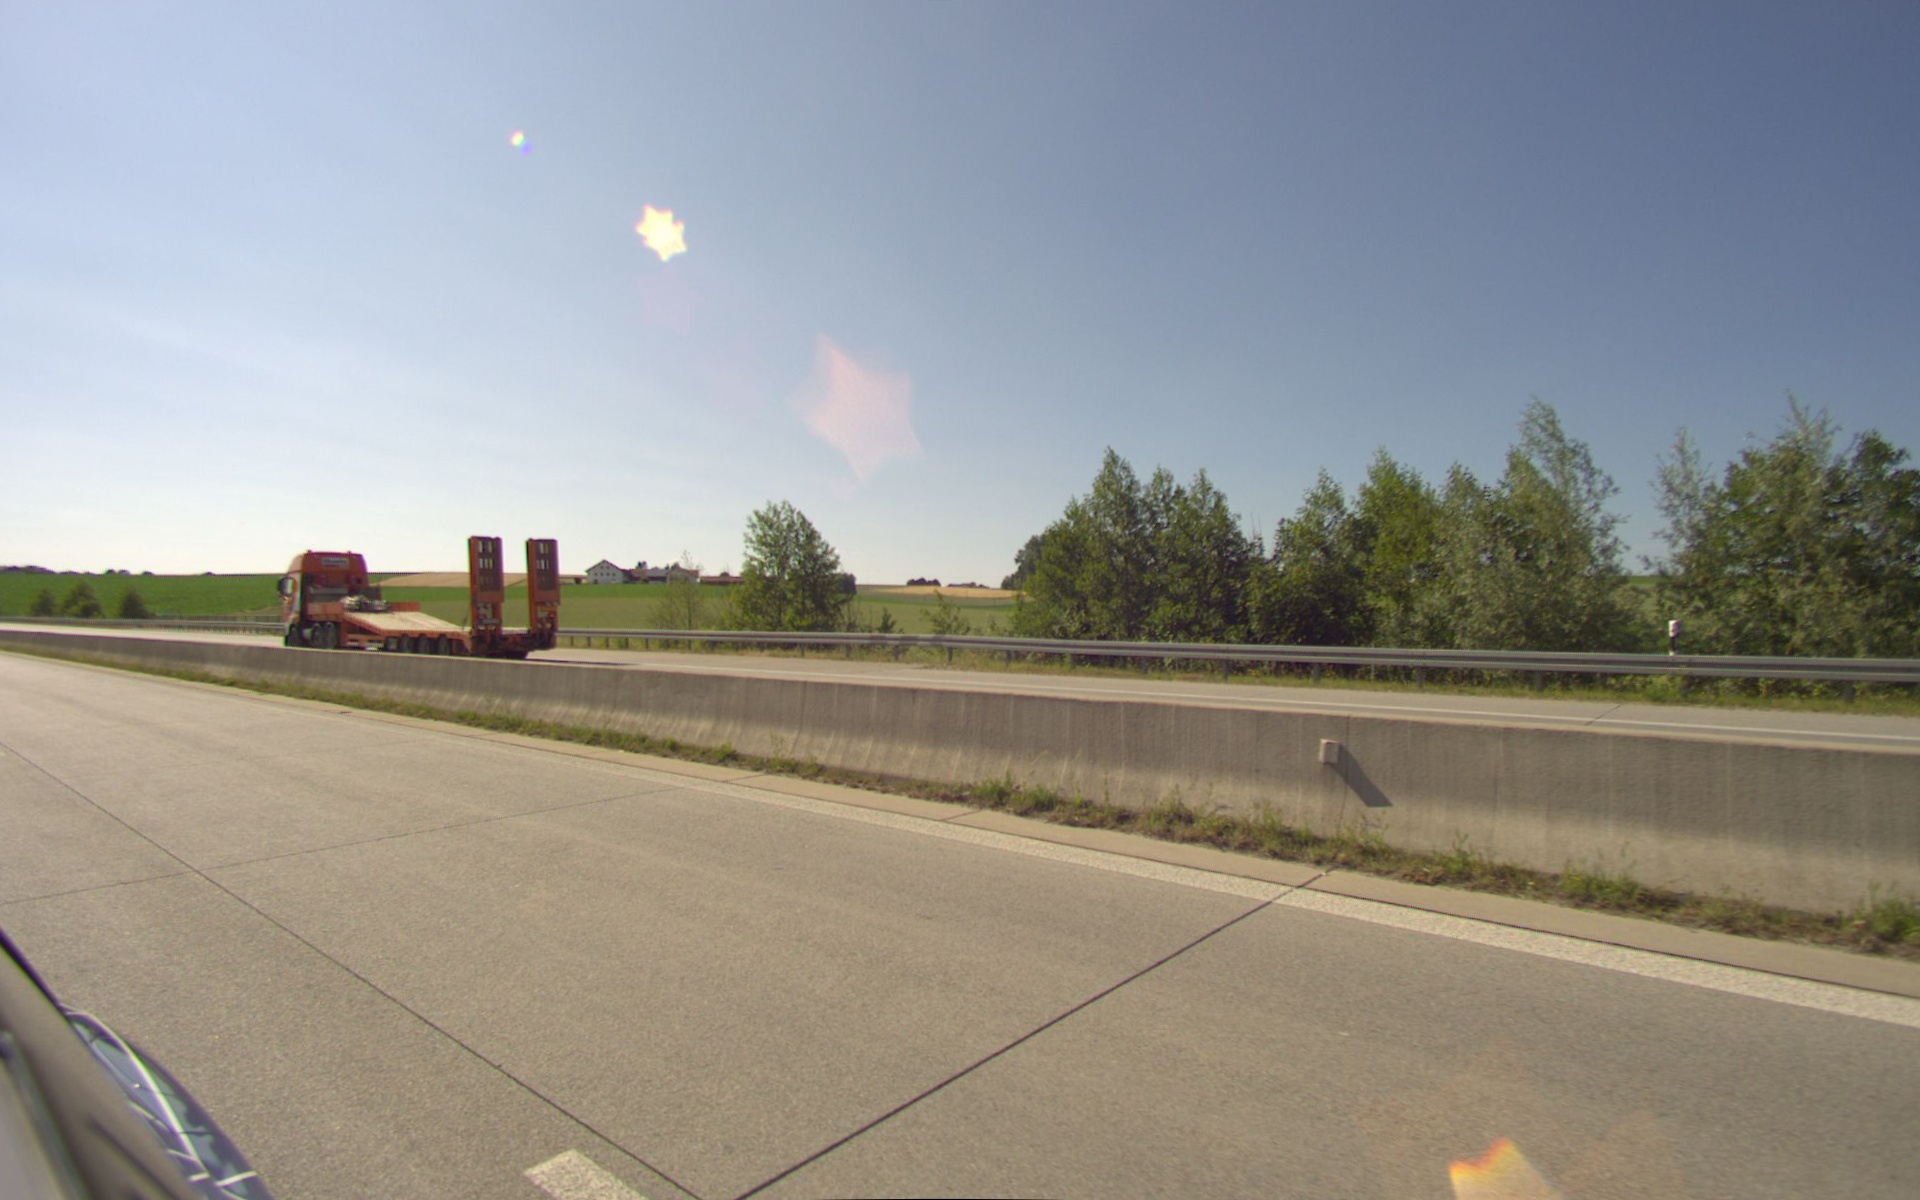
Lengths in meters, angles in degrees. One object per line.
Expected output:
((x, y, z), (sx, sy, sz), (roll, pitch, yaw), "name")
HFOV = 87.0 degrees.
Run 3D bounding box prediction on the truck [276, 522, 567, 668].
((-19.136, -0.019, 34.742), (17.104, 4.046, 2.838), (-1, -1, 41), "truck")
